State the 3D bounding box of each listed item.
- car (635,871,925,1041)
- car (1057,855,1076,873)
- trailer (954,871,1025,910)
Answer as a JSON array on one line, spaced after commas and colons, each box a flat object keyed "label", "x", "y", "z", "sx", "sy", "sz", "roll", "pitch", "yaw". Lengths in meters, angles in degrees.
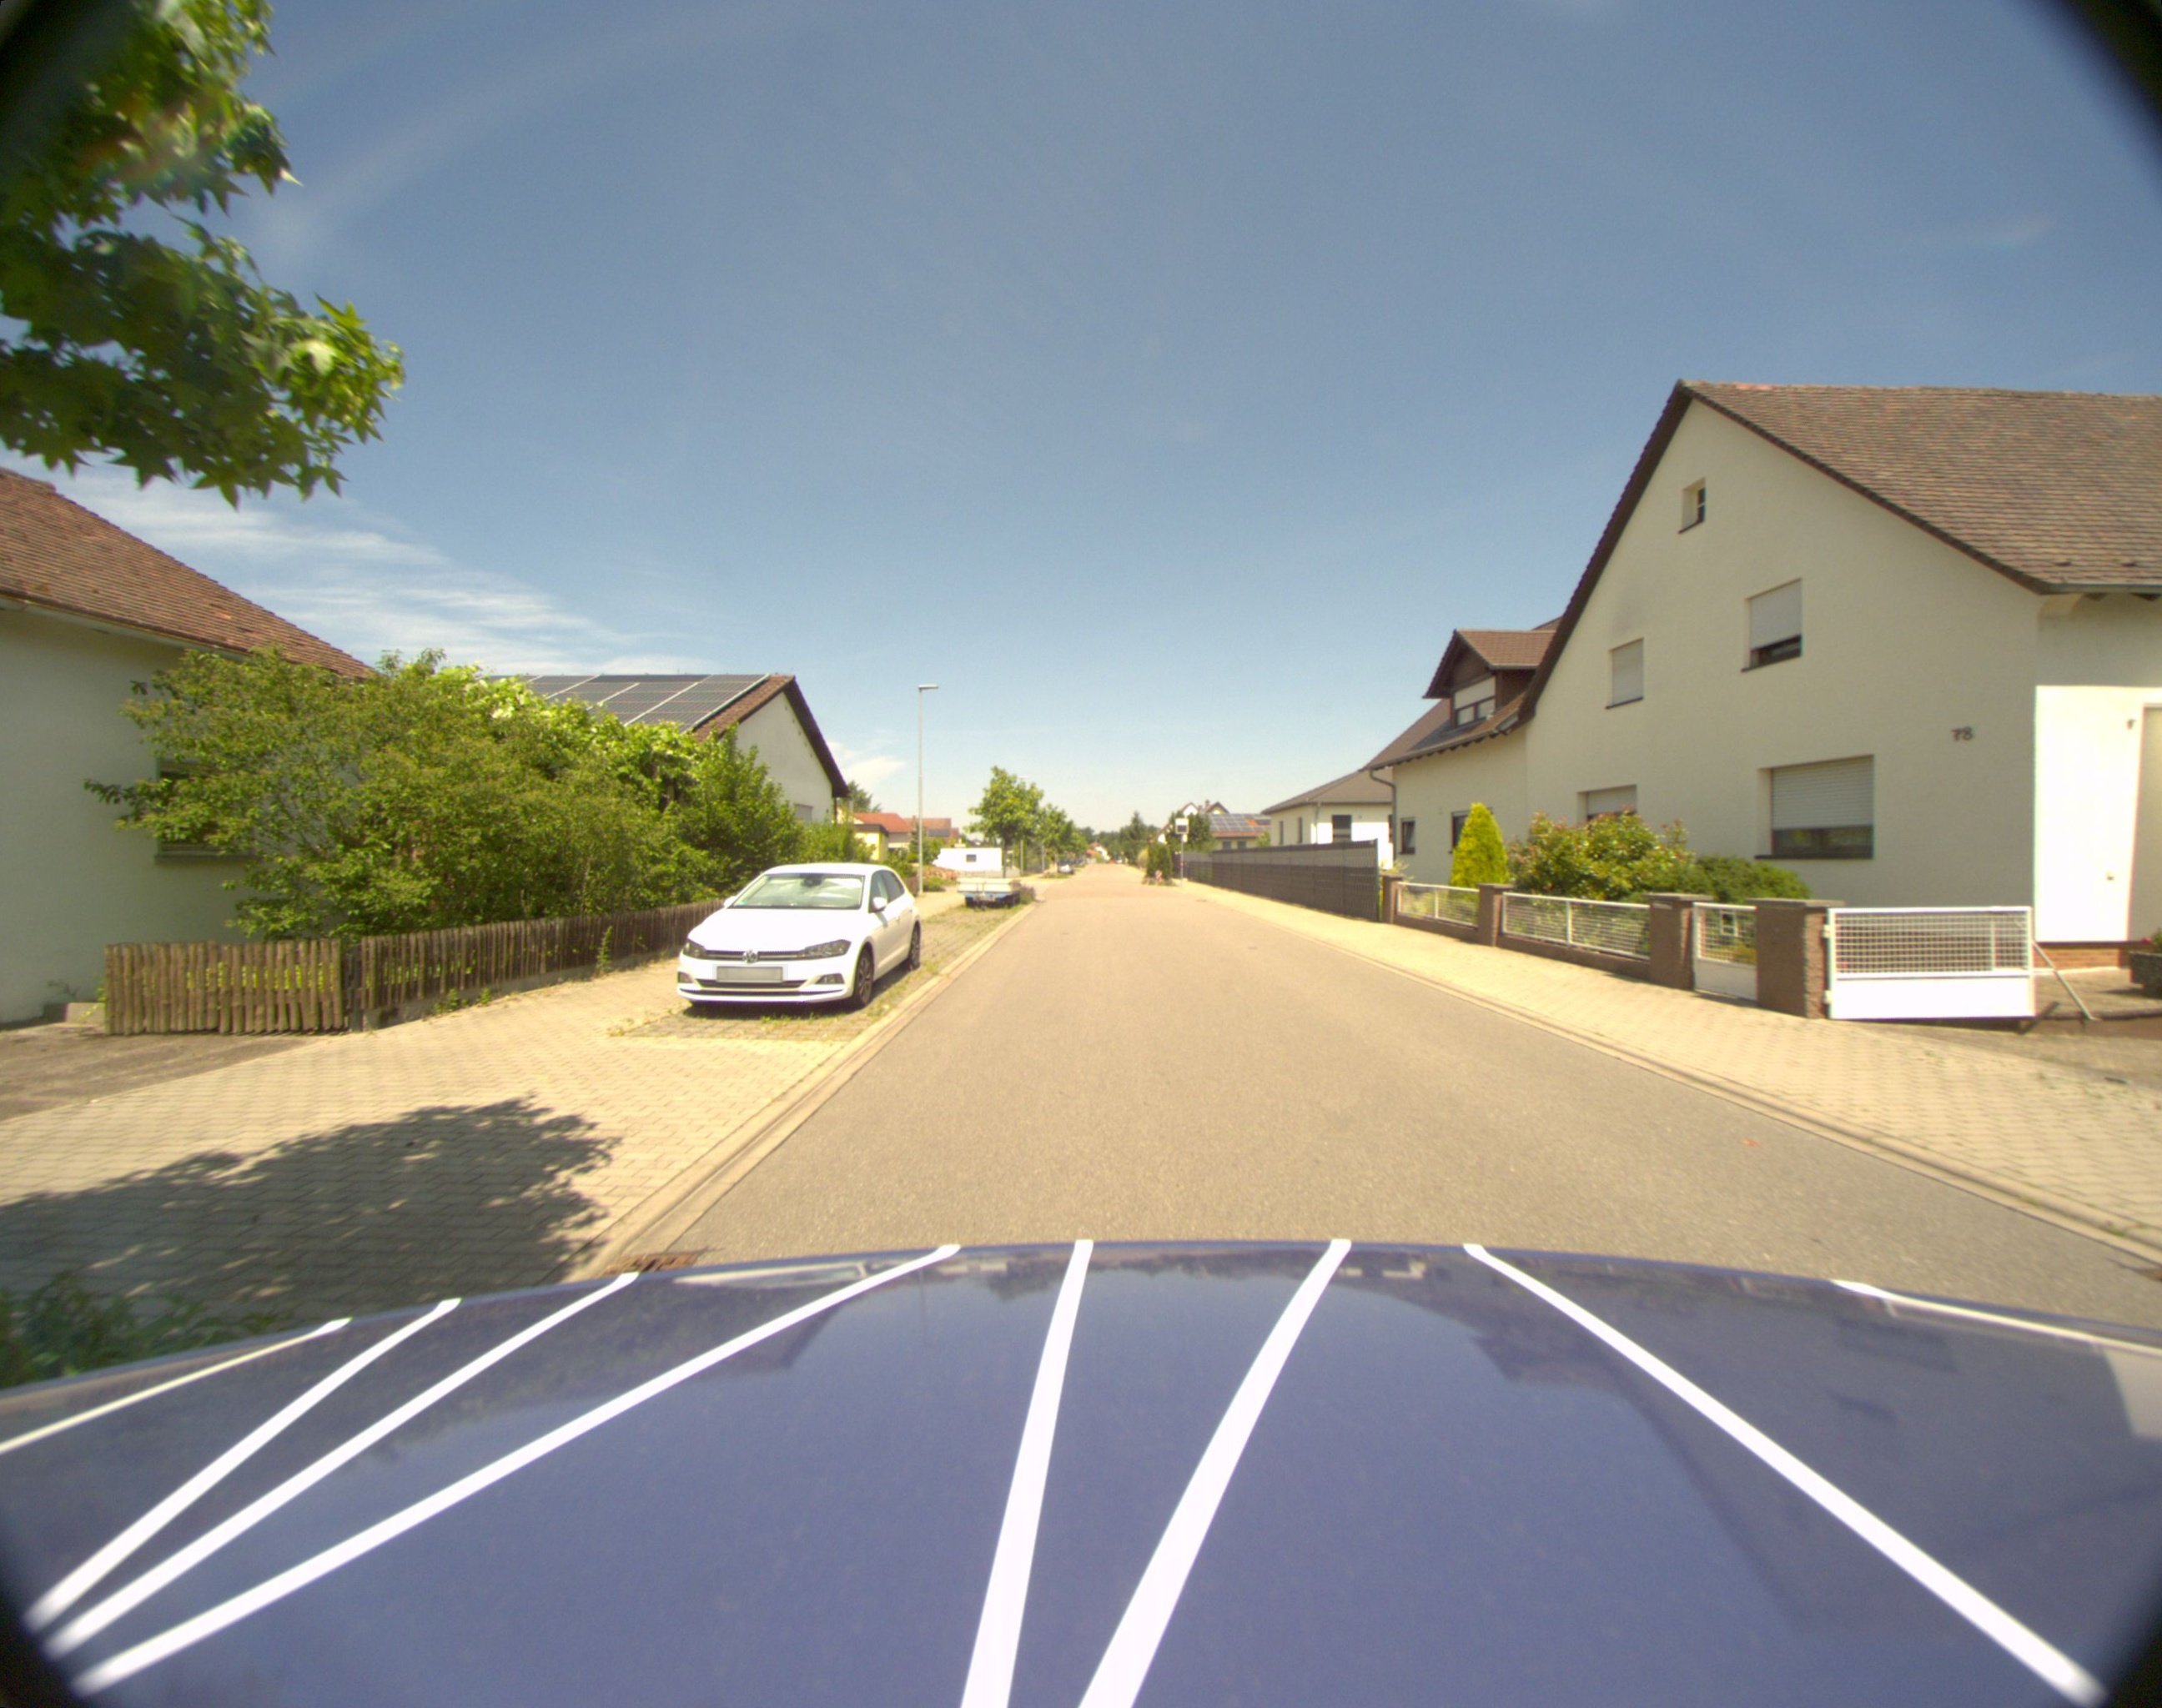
[{"label": "car", "x": -3.074, "y": 0.956, "z": 8.703, "sx": 1.819, "sy": 1.412, "sz": 3.867, "roll": 0, "pitch": 0, "yaw": -1}, {"label": "car", "x": -1.399, "y": 0.986, "z": 76.778, "sx": 1.597, "sy": 1.630, "sz": 3.803, "roll": 1, "pitch": 0, "yaw": 4}, {"label": "trailer", "x": -2.780, "y": 1.086, "z": 23.545, "sx": 1.792, "sy": 1.052, "sz": 2.899, "roll": 0, "pitch": 0, "yaw": 1}]
